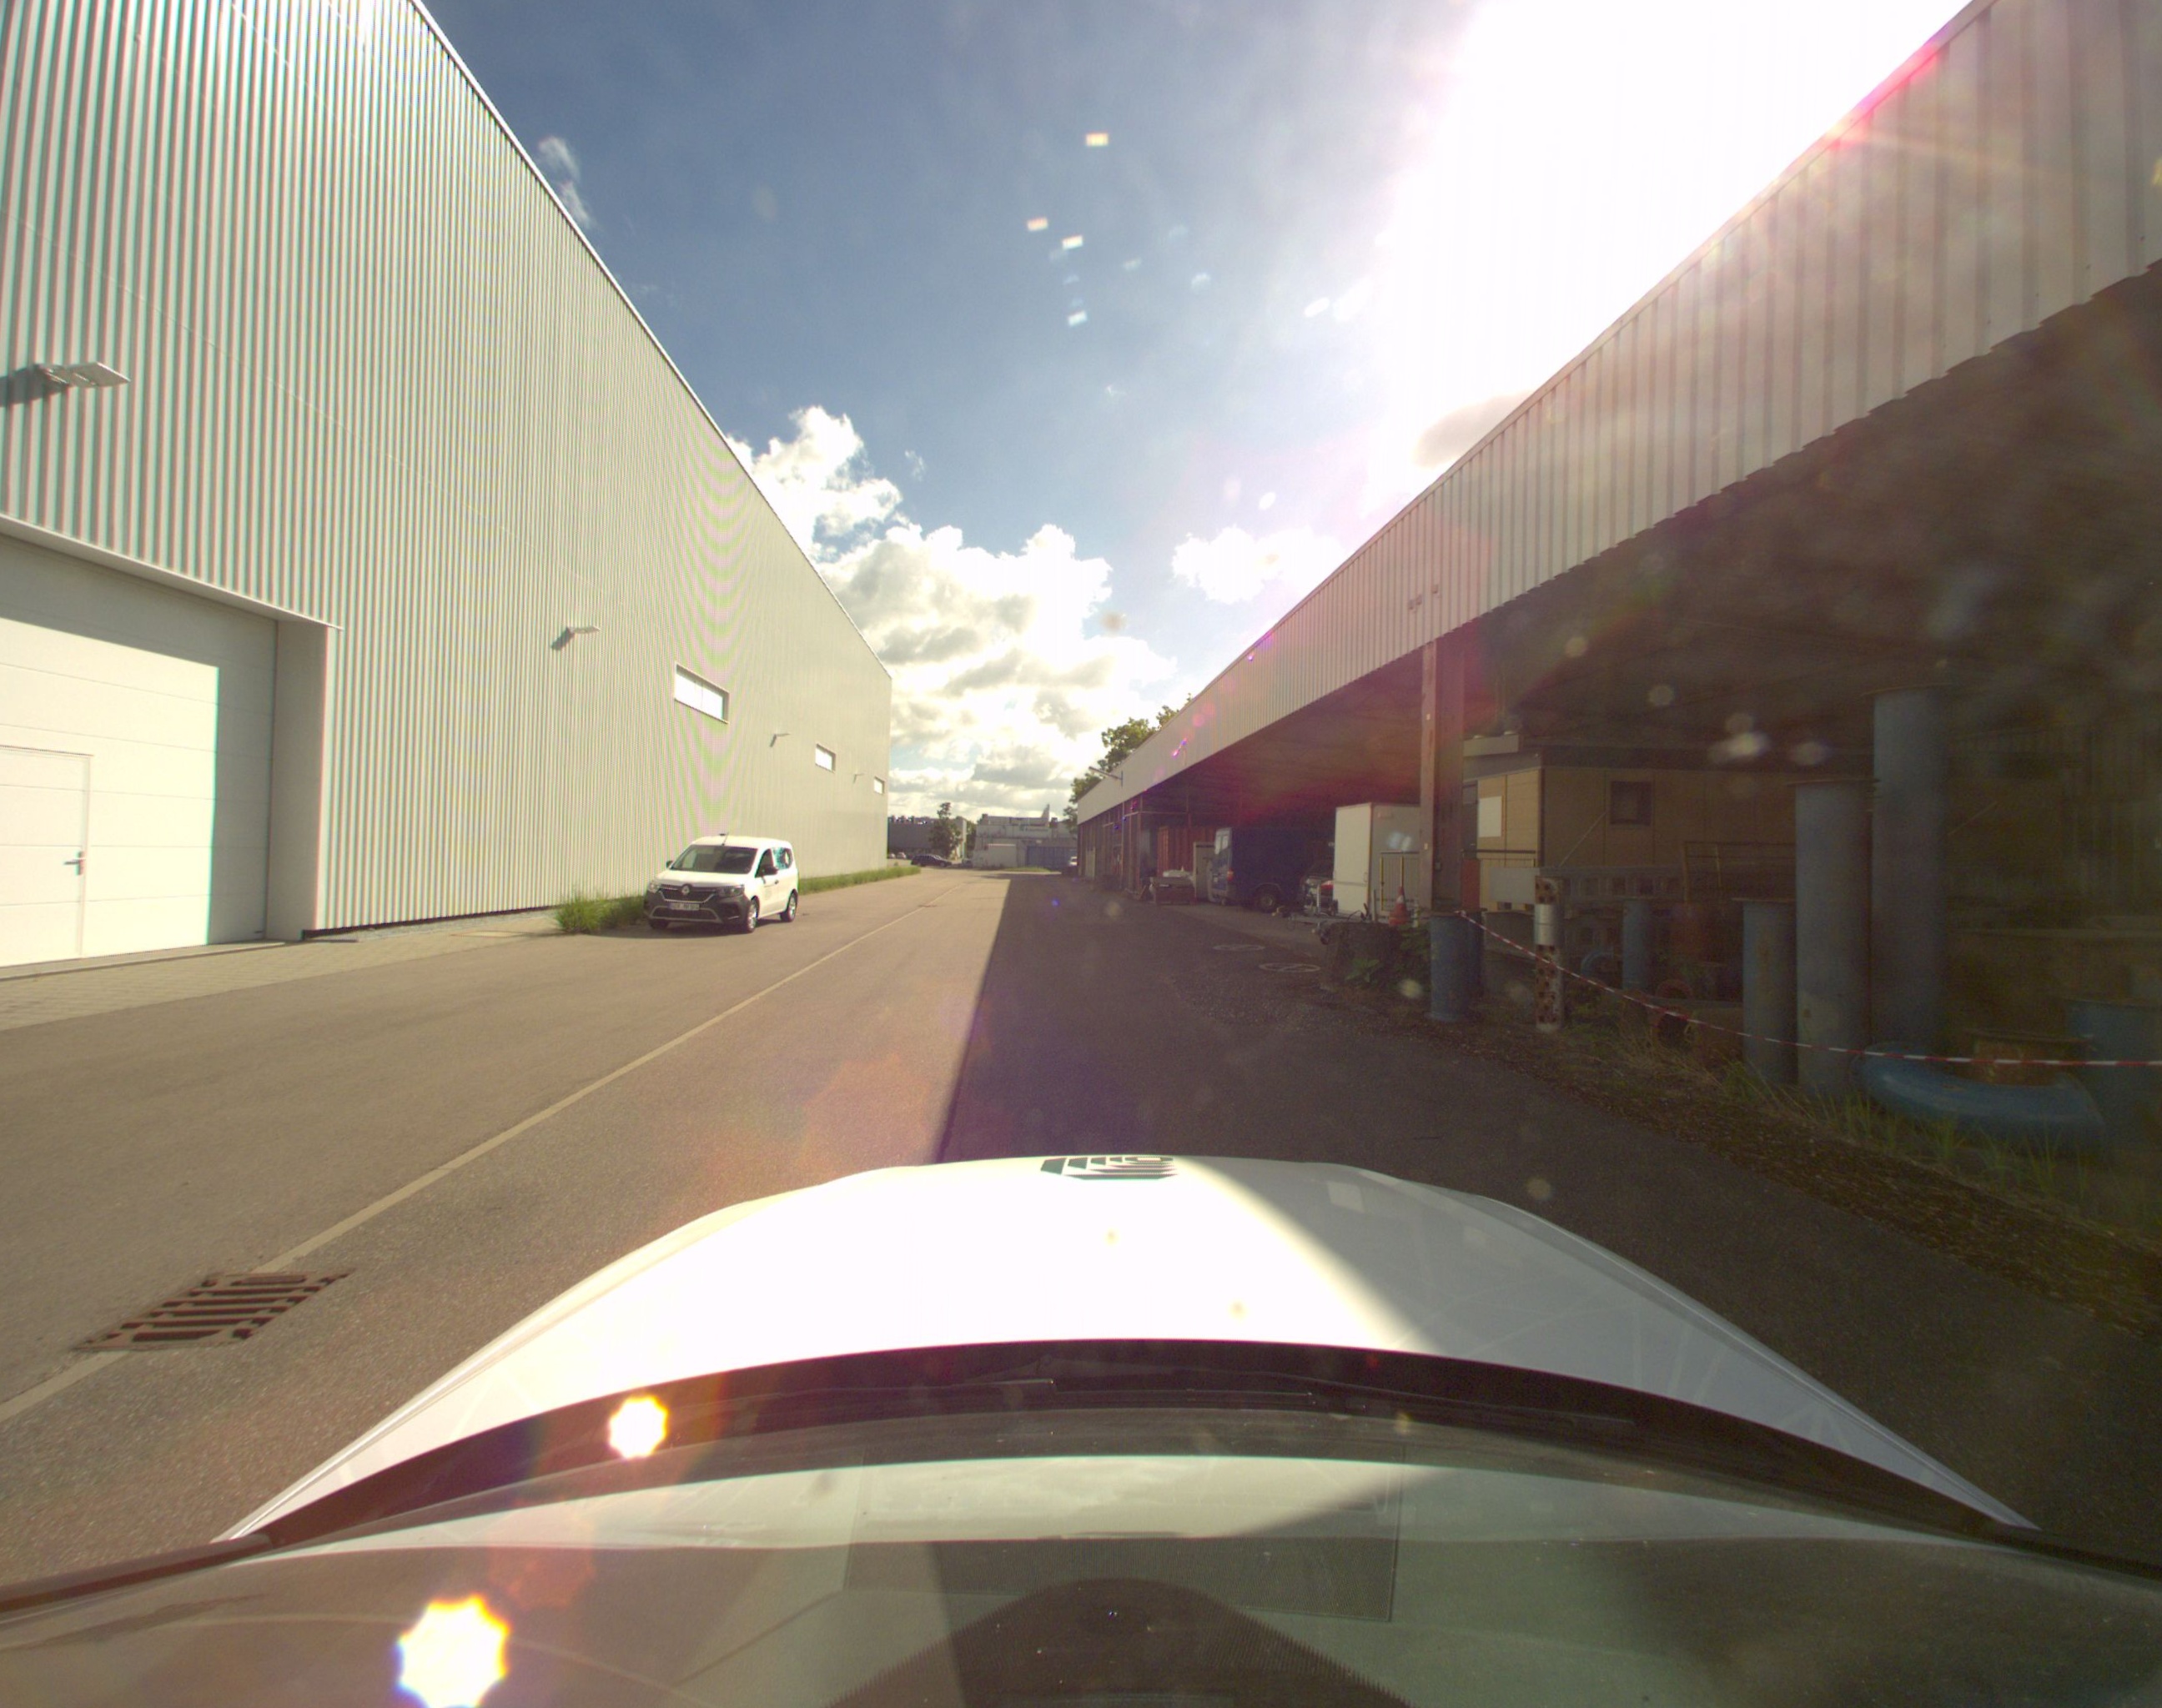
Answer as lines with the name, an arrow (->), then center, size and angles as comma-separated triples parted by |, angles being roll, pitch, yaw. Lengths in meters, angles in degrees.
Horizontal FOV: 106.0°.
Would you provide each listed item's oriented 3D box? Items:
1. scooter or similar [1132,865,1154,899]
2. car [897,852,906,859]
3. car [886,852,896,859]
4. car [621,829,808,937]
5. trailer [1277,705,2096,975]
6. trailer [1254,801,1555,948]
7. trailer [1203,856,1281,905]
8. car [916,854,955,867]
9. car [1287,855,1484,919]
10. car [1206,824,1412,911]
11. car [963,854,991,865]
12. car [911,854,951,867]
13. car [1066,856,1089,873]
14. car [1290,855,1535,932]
scooter or similar -> 2.142, 0.965, 28.309 | 0.519, 1.134, 1.589 | 1, -1, -5
car -> -42.430, 0.411, 192.674 | 1.876, 1.537, 4.025 | 0, -1, -7
car -> -44.726, 0.423, 192.224 | 1.876, 1.537, 4.025 | 0, -1, -7
car -> -7.111, 0.508, 16.410 | 1.925, 1.790, 4.590 | 3, 0, -5
trailer -> 8.248, -0.207, 11.710 | 10.274, 3.295, 2.671 | 0, 0, -5
trailer -> 5.421, 0.309, 13.959 | 4.533, 2.335, 1.686 | 0, 0, -5
trailer -> 4.989, 0.808, 25.404 | 2.089, 1.462, 1.640 | 1, -1, -2
car -> -18.055, 0.800, 101.030 | 4.522, 1.443, 1.900 | 1, -2, -5
car -> 7.328, 0.770, 19.814 | 4.101, 1.454, 1.847 | 0, -1, -6
car -> 6.318, 0.386, 22.927 | 5.209, 2.297, 2.080 | 1, -1, -6
car -> -16.045, 0.930, 125.790 | 4.272, 1.569, 1.983 | 1, -2, -5
car -> -18.020, 0.785, 97.765 | 4.522, 1.443, 1.983 | 1, -2, -5
car -> -0.390, 1.067, 86.871 | 1.978, 1.593, 4.333 | 2, 1, -5
car -> 6.700, 0.759, 16.686 | 4.342, 1.433, 1.859 | 0, -1, -9
